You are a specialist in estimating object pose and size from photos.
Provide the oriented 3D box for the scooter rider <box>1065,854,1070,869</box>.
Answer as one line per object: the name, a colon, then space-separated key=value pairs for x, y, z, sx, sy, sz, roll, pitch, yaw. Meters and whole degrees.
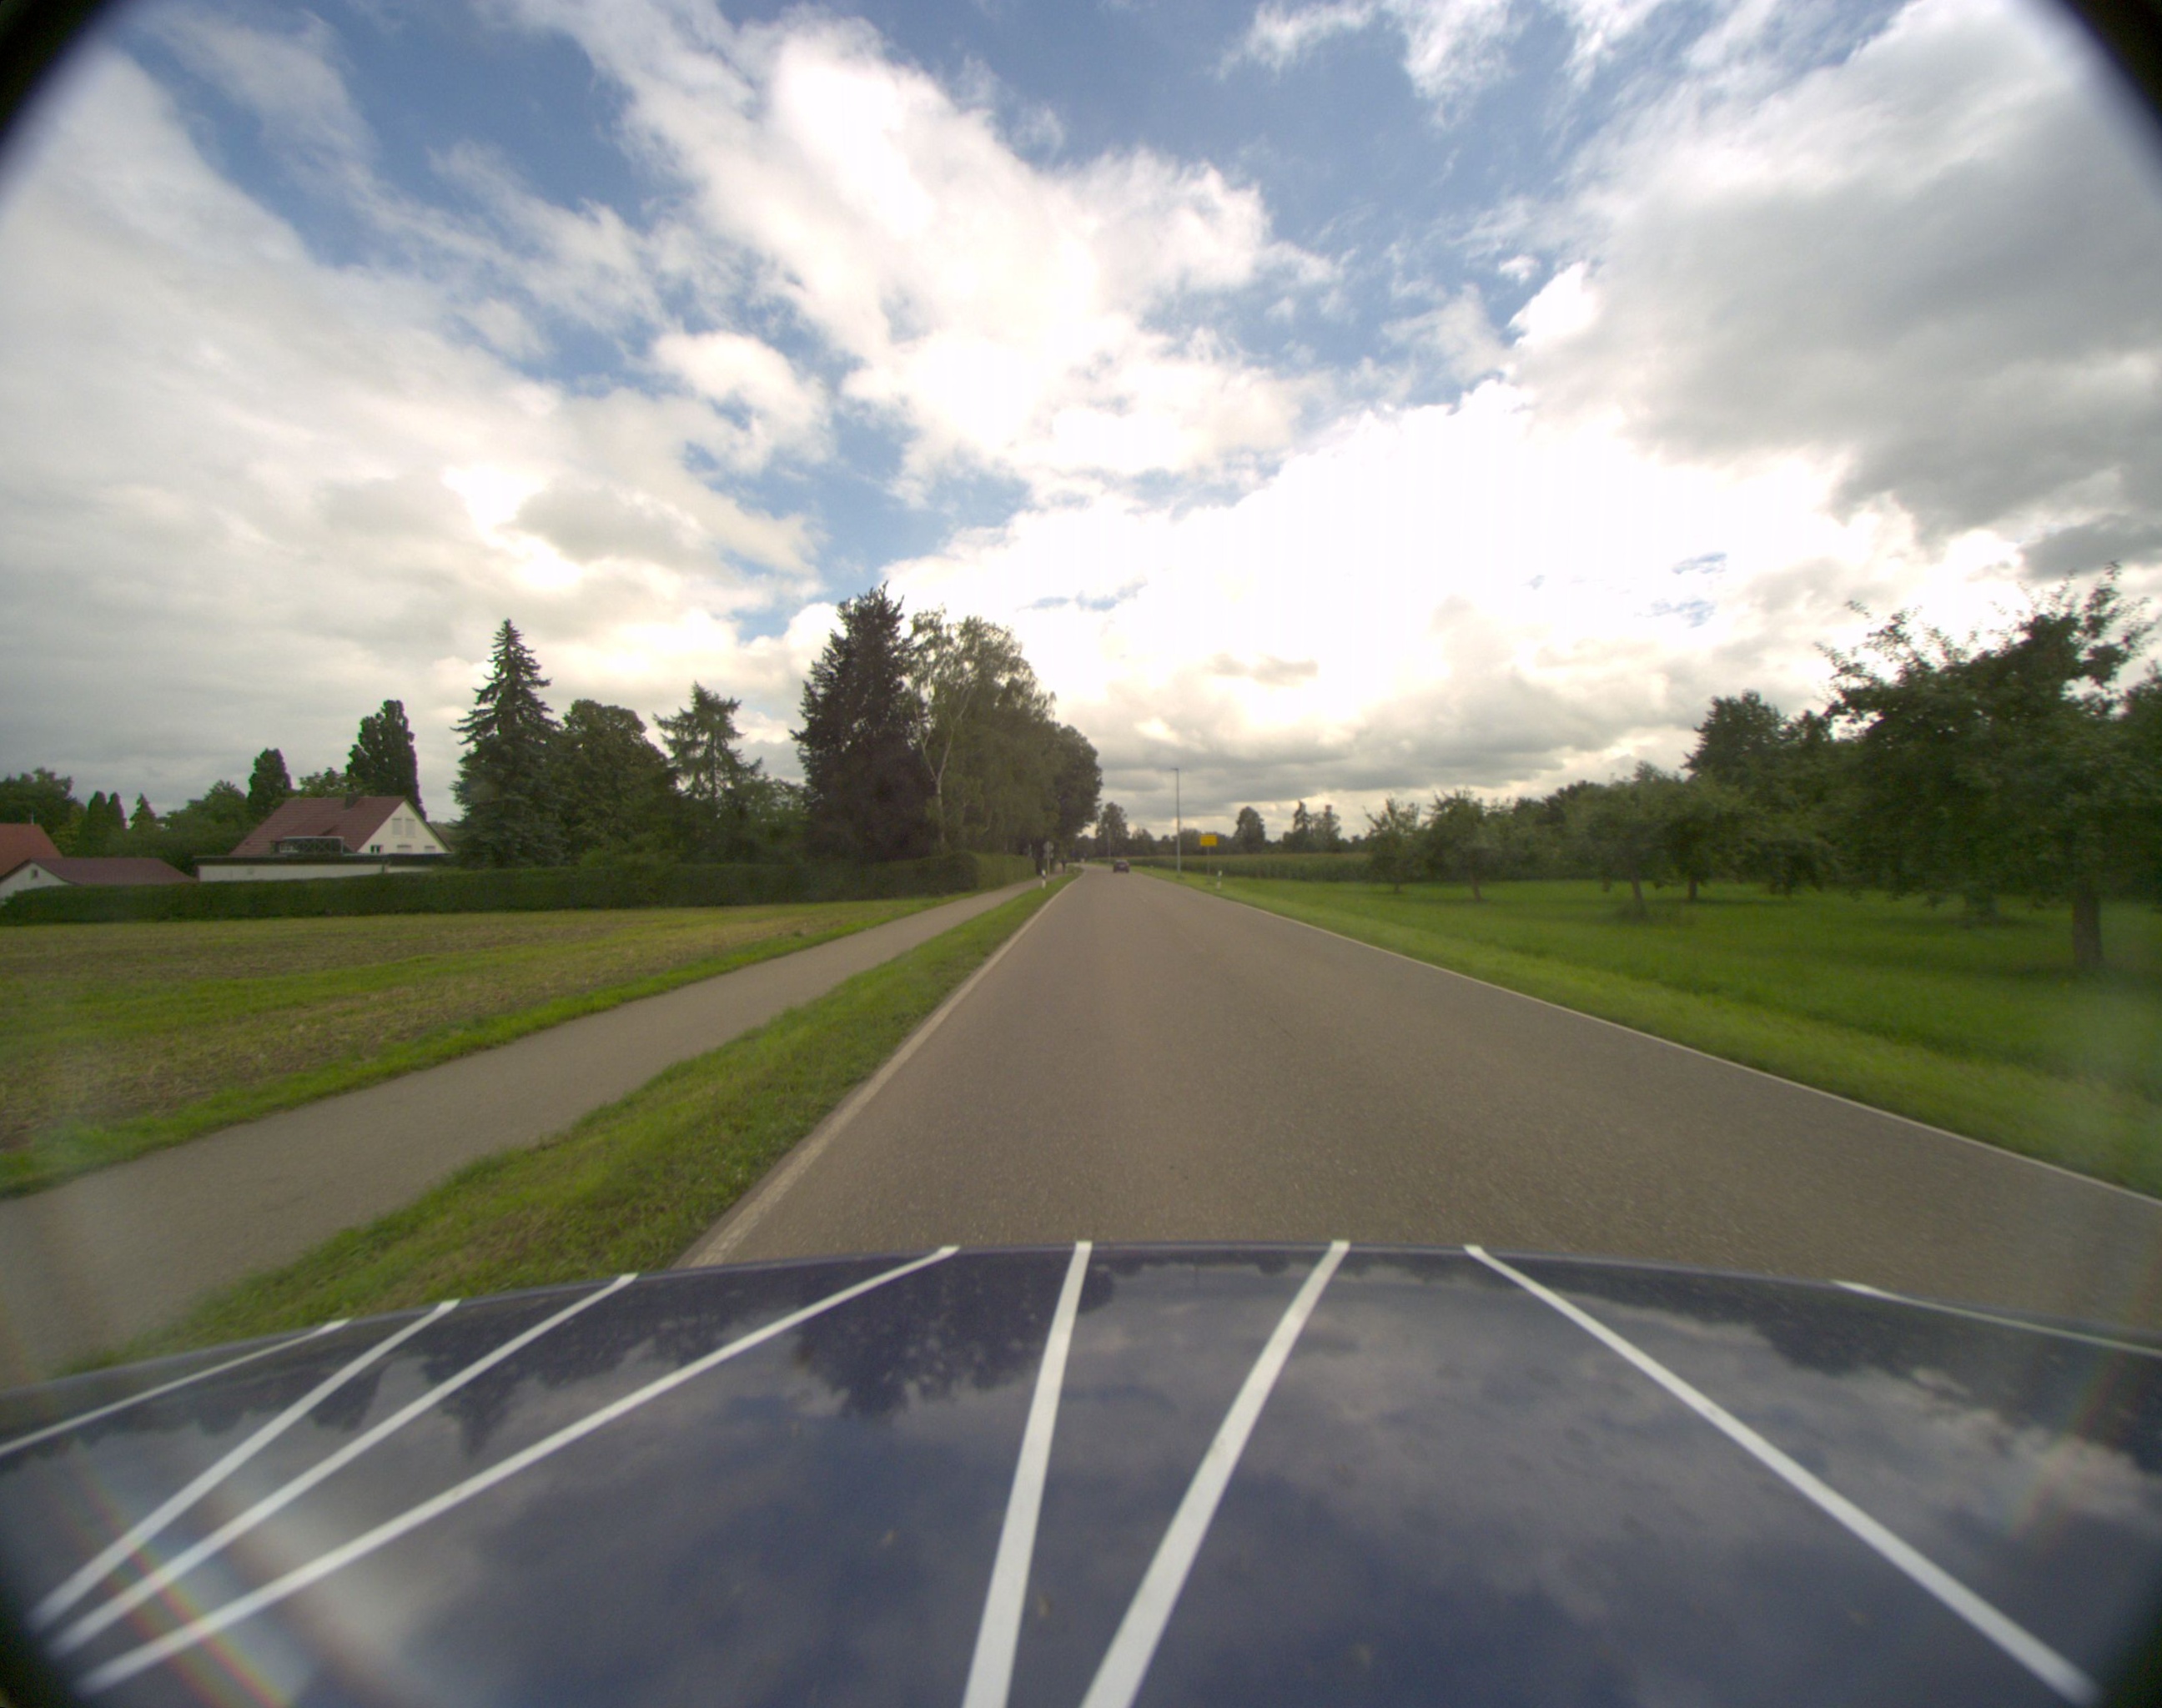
scooter rider: x=-1.831 y=1.024 z=101.205 sx=0.643 sy=1.954 sz=0.786 roll=-1 pitch=0 yaw=1

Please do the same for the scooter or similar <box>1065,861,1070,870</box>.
scooter or similar: x=-1.818 y=1.485 z=101.300 sx=0.650 sy=1.157 sz=1.695 roll=-1 pitch=0 yaw=1

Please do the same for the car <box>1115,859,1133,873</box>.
car: x=5.034 y=1.451 z=89.616 sx=1.868 sy=1.543 sz=4.182 roll=1 pitch=0 yaw=1
